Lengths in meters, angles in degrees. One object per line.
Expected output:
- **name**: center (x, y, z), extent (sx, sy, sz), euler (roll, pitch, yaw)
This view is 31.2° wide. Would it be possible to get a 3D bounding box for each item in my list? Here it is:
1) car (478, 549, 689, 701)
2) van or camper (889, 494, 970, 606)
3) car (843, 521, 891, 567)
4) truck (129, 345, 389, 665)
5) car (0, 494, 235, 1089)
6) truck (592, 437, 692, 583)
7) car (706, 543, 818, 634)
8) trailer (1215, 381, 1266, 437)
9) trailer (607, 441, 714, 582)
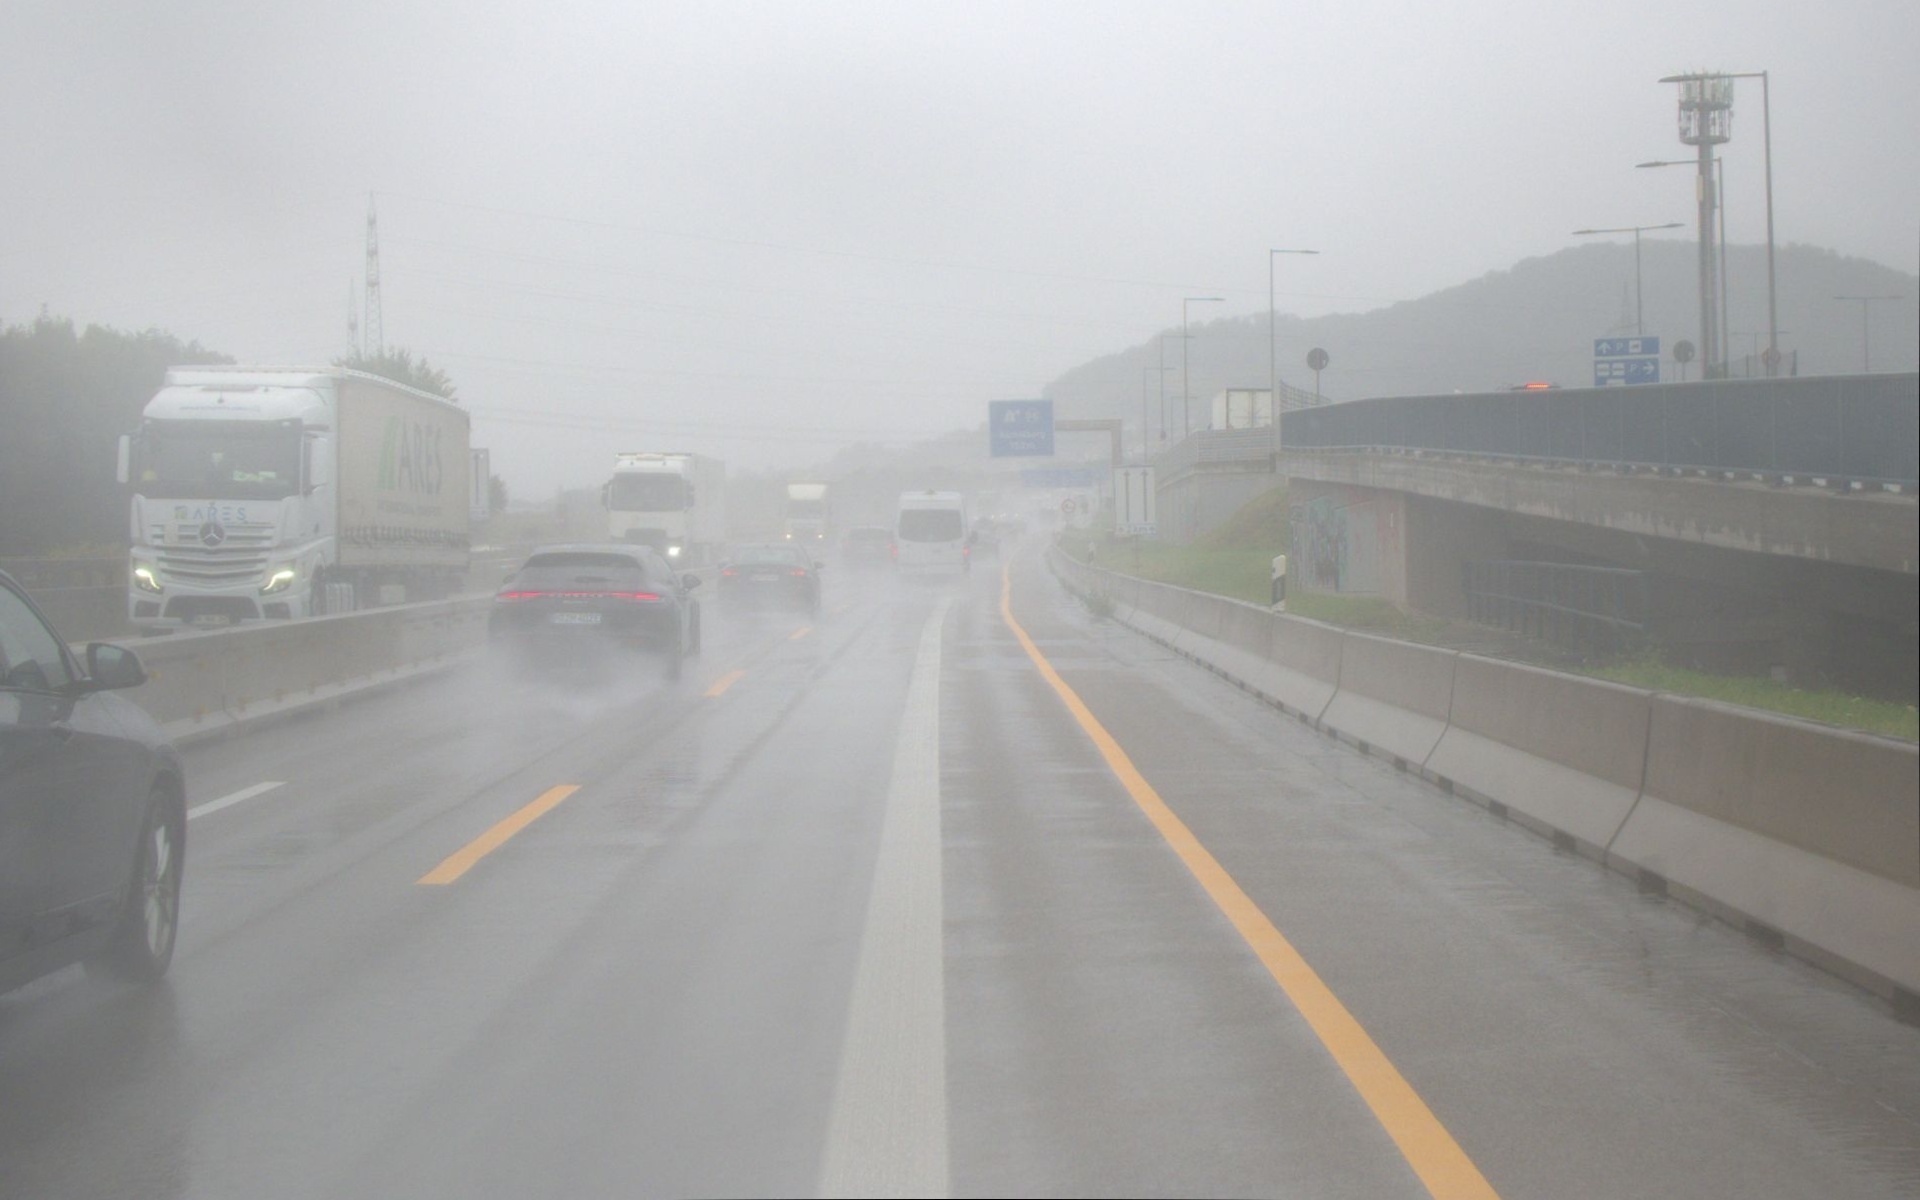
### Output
- **car**: center (-3.901, 0.238, 36.229), extent (1.844, 1.486, 4.262), euler (1, 0, -1)
- **van or camper**: center (-0.799, -1.262, 87.814), extent (1.996, 2.768, 4.050), euler (1, 0, -1)
- **car**: center (-3.165, -1.896, 117.240), extent (1.566, 1.475, 2.822), euler (-2, 0, -1)
- **truck**: center (-10.347, -1.341, 51.368), extent (2.502, 4.447, 6.881), euler (1, 0, 0)
- **car**: center (-3.444, 0.495, 10.118), extent (1.701, 1.592, 4.846), euler (0, 1, -1)
- **truck**: center (-10.286, -2.847, 111.686), extent (2.560, 4.587, 6.452), euler (1, 0, 1)
- **car**: center (-3.586, -0.232, 62.884), extent (1.844, 1.486, 4.262), euler (-2, 2, -1)
- **trailer**: center (14.290, -9.711, 175.733), extent (1.993, 2.099, 13.767), euler (1, 0, 2)
- **trailer**: center (-10.224, -2.913, 118.347), extent (2.547, 4.573, 12.010), euler (1, 0, 0)
